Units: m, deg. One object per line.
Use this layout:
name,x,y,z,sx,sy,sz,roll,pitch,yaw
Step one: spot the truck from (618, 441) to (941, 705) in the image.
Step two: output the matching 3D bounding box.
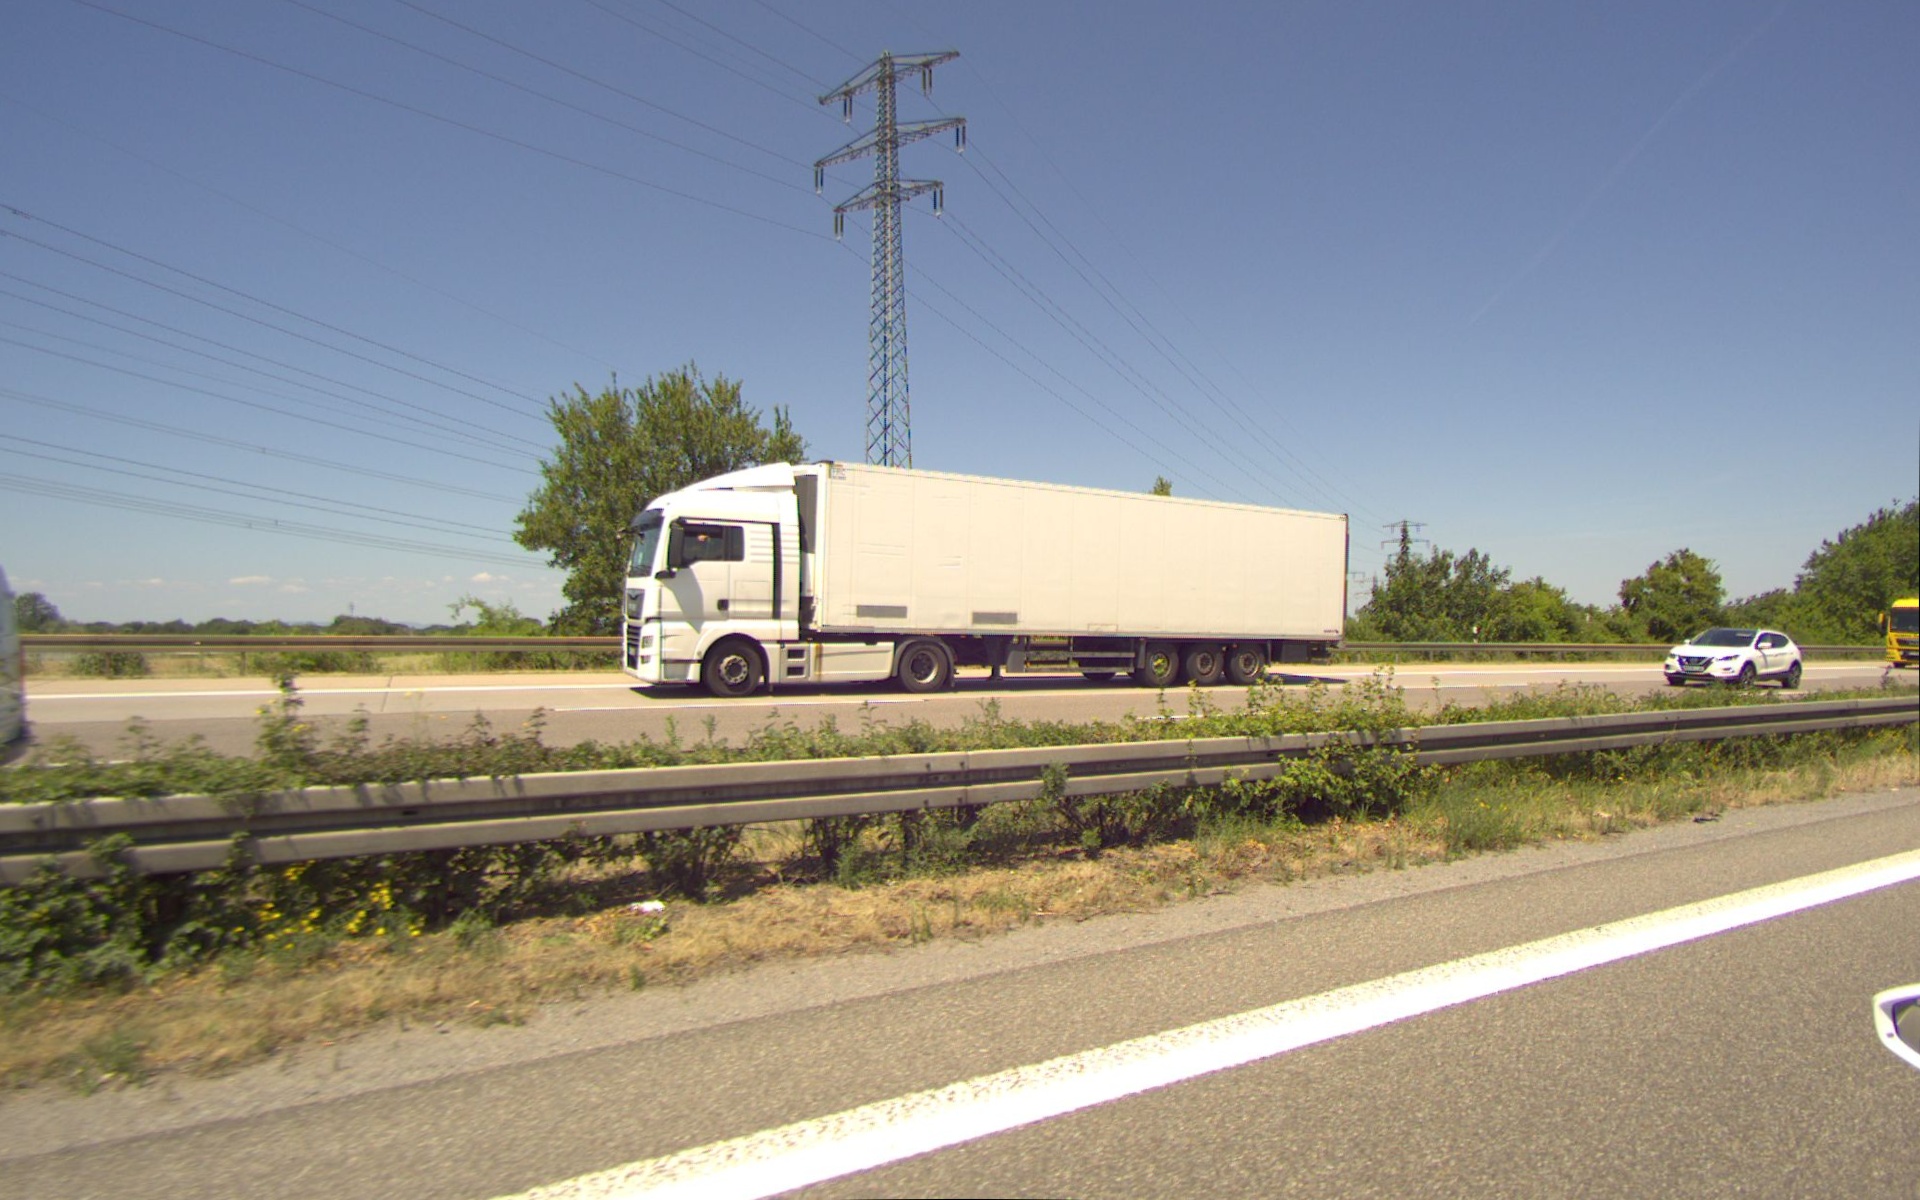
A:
truck,-3.270,-0.378,18.270,5.105,4.135,2.817,1,0,-30

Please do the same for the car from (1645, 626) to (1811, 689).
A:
car,21.024,1.536,27.468,4.671,1.569,1.984,2,-1,-30

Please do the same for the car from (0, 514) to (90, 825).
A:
car,-8.787,0.426,5.882,5.276,1.965,1.983,0,0,-31

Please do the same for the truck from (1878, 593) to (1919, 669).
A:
truck,44.884,1.434,45.202,9.553,3.193,2.509,2,-1,-30

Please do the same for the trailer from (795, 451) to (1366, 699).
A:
trailer,3.266,-0.291,22.094,13.476,4.315,2.821,1,0,-30
